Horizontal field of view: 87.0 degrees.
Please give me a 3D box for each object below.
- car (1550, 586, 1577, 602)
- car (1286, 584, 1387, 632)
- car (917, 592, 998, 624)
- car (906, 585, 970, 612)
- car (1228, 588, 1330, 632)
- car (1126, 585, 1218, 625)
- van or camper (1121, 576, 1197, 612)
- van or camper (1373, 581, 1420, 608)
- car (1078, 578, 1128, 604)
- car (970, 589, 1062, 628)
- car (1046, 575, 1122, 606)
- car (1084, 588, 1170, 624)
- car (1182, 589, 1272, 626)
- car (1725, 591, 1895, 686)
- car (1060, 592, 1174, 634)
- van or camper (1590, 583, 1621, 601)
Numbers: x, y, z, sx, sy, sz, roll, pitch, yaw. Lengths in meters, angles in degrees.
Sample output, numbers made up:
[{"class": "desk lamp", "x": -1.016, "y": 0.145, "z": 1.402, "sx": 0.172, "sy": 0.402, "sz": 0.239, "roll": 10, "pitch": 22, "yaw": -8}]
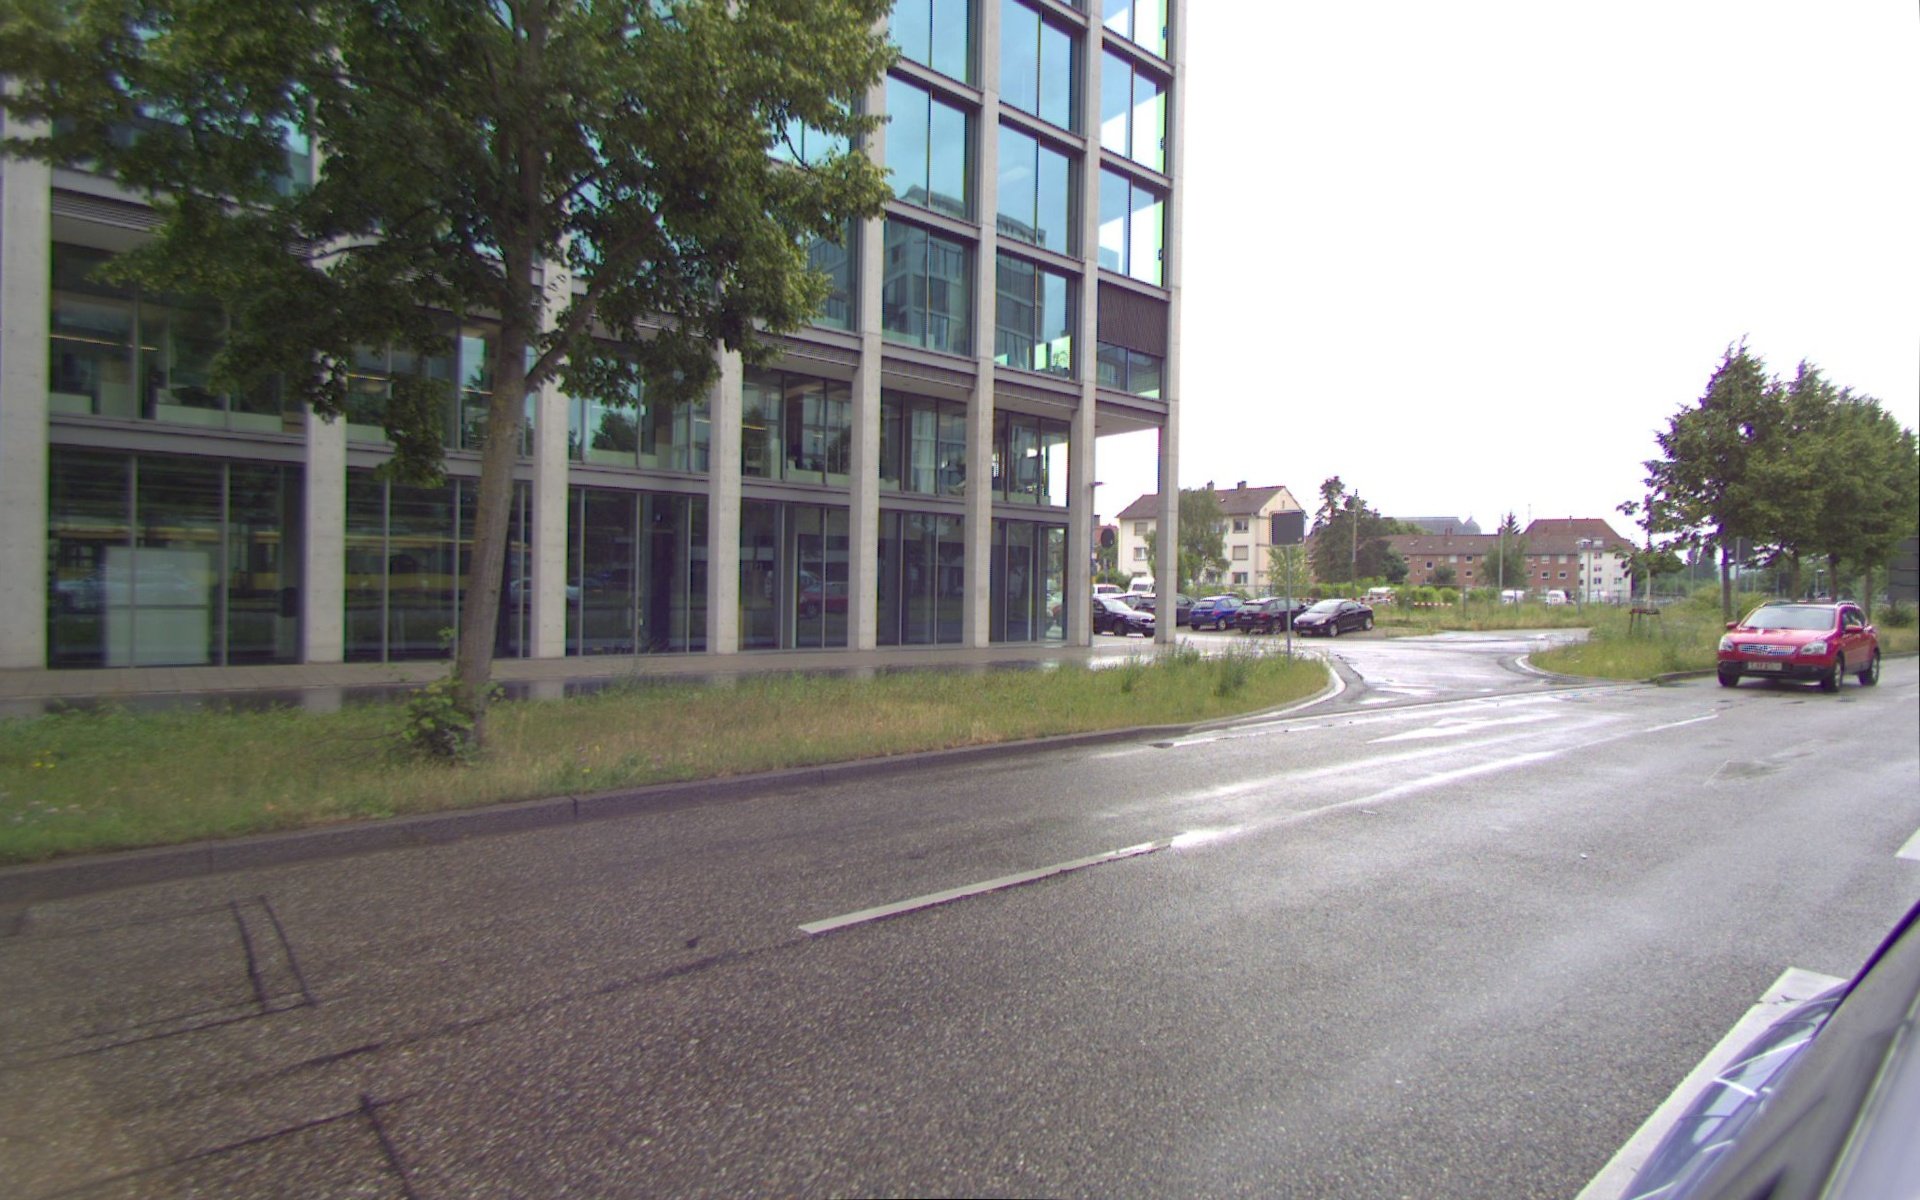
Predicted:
[{"class": "car", "x": 87.754, "y": -0.865, "z": 147.046, "sx": 4.682, "sy": 2.248, "sz": 2.273, "roll": 0, "pitch": 0, "yaw": -45}, {"class": "car", "x": 15.401, "y": 0.297, "z": 41.313, "sx": 3.925, "sy": 1.599, "sz": 1.862, "roll": -6, "pitch": 3, "yaw": -33}, {"class": "car", "x": -0.164, "y": 0.349, "z": 47.645, "sx": 1.825, "sy": 1.390, "sz": 4.000, "roll": 2, "pitch": 0, "yaw": -35}, {"class": "car", "x": -1.452, "y": -0.112, "z": 66.930, "sx": 3.967, "sy": 1.514, "sz": 1.857, "roll": -5, "pitch": 4, "yaw": -43}, {"class": "car", "x": 13.768, "y": 0.380, "z": 43.613, "sx": 4.474, "sy": 1.472, "sz": 1.861, "roll": -5, "pitch": 4, "yaw": -35}, {"class": "car", "x": 10.210, "y": 0.204, "z": 48.730, "sx": 4.334, "sy": 1.621, "sz": 1.861, "roll": -4, "pitch": 3, "yaw": -35}, {"class": "van or camper", "x": 17.220, "y": -0.523, "z": 87.281, "sx": 6.658, "sy": 3.031, "sz": 2.912, "roll": 0, "pitch": 1, "yaw": -41}, {"class": "van or camper", "x": 46.226, "y": -0.605, "z": 107.148, "sx": 6.289, "sy": 2.723, "sz": 2.311, "roll": 0, "pitch": 1, "yaw": -43}, {"class": "car", "x": 11.662, "y": -0.707, "z": 82.219, "sx": 4.090, "sy": 2.030, "sz": 1.700, "roll": 0, "pitch": 1, "yaw": -40}, {"class": "car", "x": 2.382, "y": 0.350, "z": 43.863, "sx": 1.826, "sy": 1.507, "sz": 3.999, "roll": 3, "pitch": -1, "yaw": -36}, {"class": "car", "x": 6.858, "y": -0.518, "z": 55.898, "sx": 3.924, "sy": 1.621, "sz": 1.861, "roll": 0, "pitch": 1, "yaw": -35}, {"class": "car", "x": 8.362, "y": 0.259, "z": 50.649, "sx": 4.152, "sy": 1.492, "sz": 1.791, "roll": -4, "pitch": 3, "yaw": -35}, {"class": "car", "x": 12.212, "y": 0.306, "z": 46.192, "sx": 3.926, "sy": 1.472, "sz": 1.861, "roll": -3, "pitch": 2, "yaw": -35}, {"class": "car", "x": 16.347, "y": 0.660, "z": 19.401, "sx": 4.169, "sy": 1.632, "sz": 1.798, "roll": 0, "pitch": 0, "yaw": -40}, {"class": "car", "x": 5.997, "y": 0.473, "z": 39.029, "sx": 1.943, "sy": 1.456, "sz": 4.232, "roll": 3, "pitch": -1, "yaw": -35}, {"class": "van or camper", "x": 88.777, "y": -1.074, "z": 139.122, "sx": 6.045, "sy": 2.337, "sz": 2.204, "roll": 0, "pitch": -1, "yaw": -43}]
